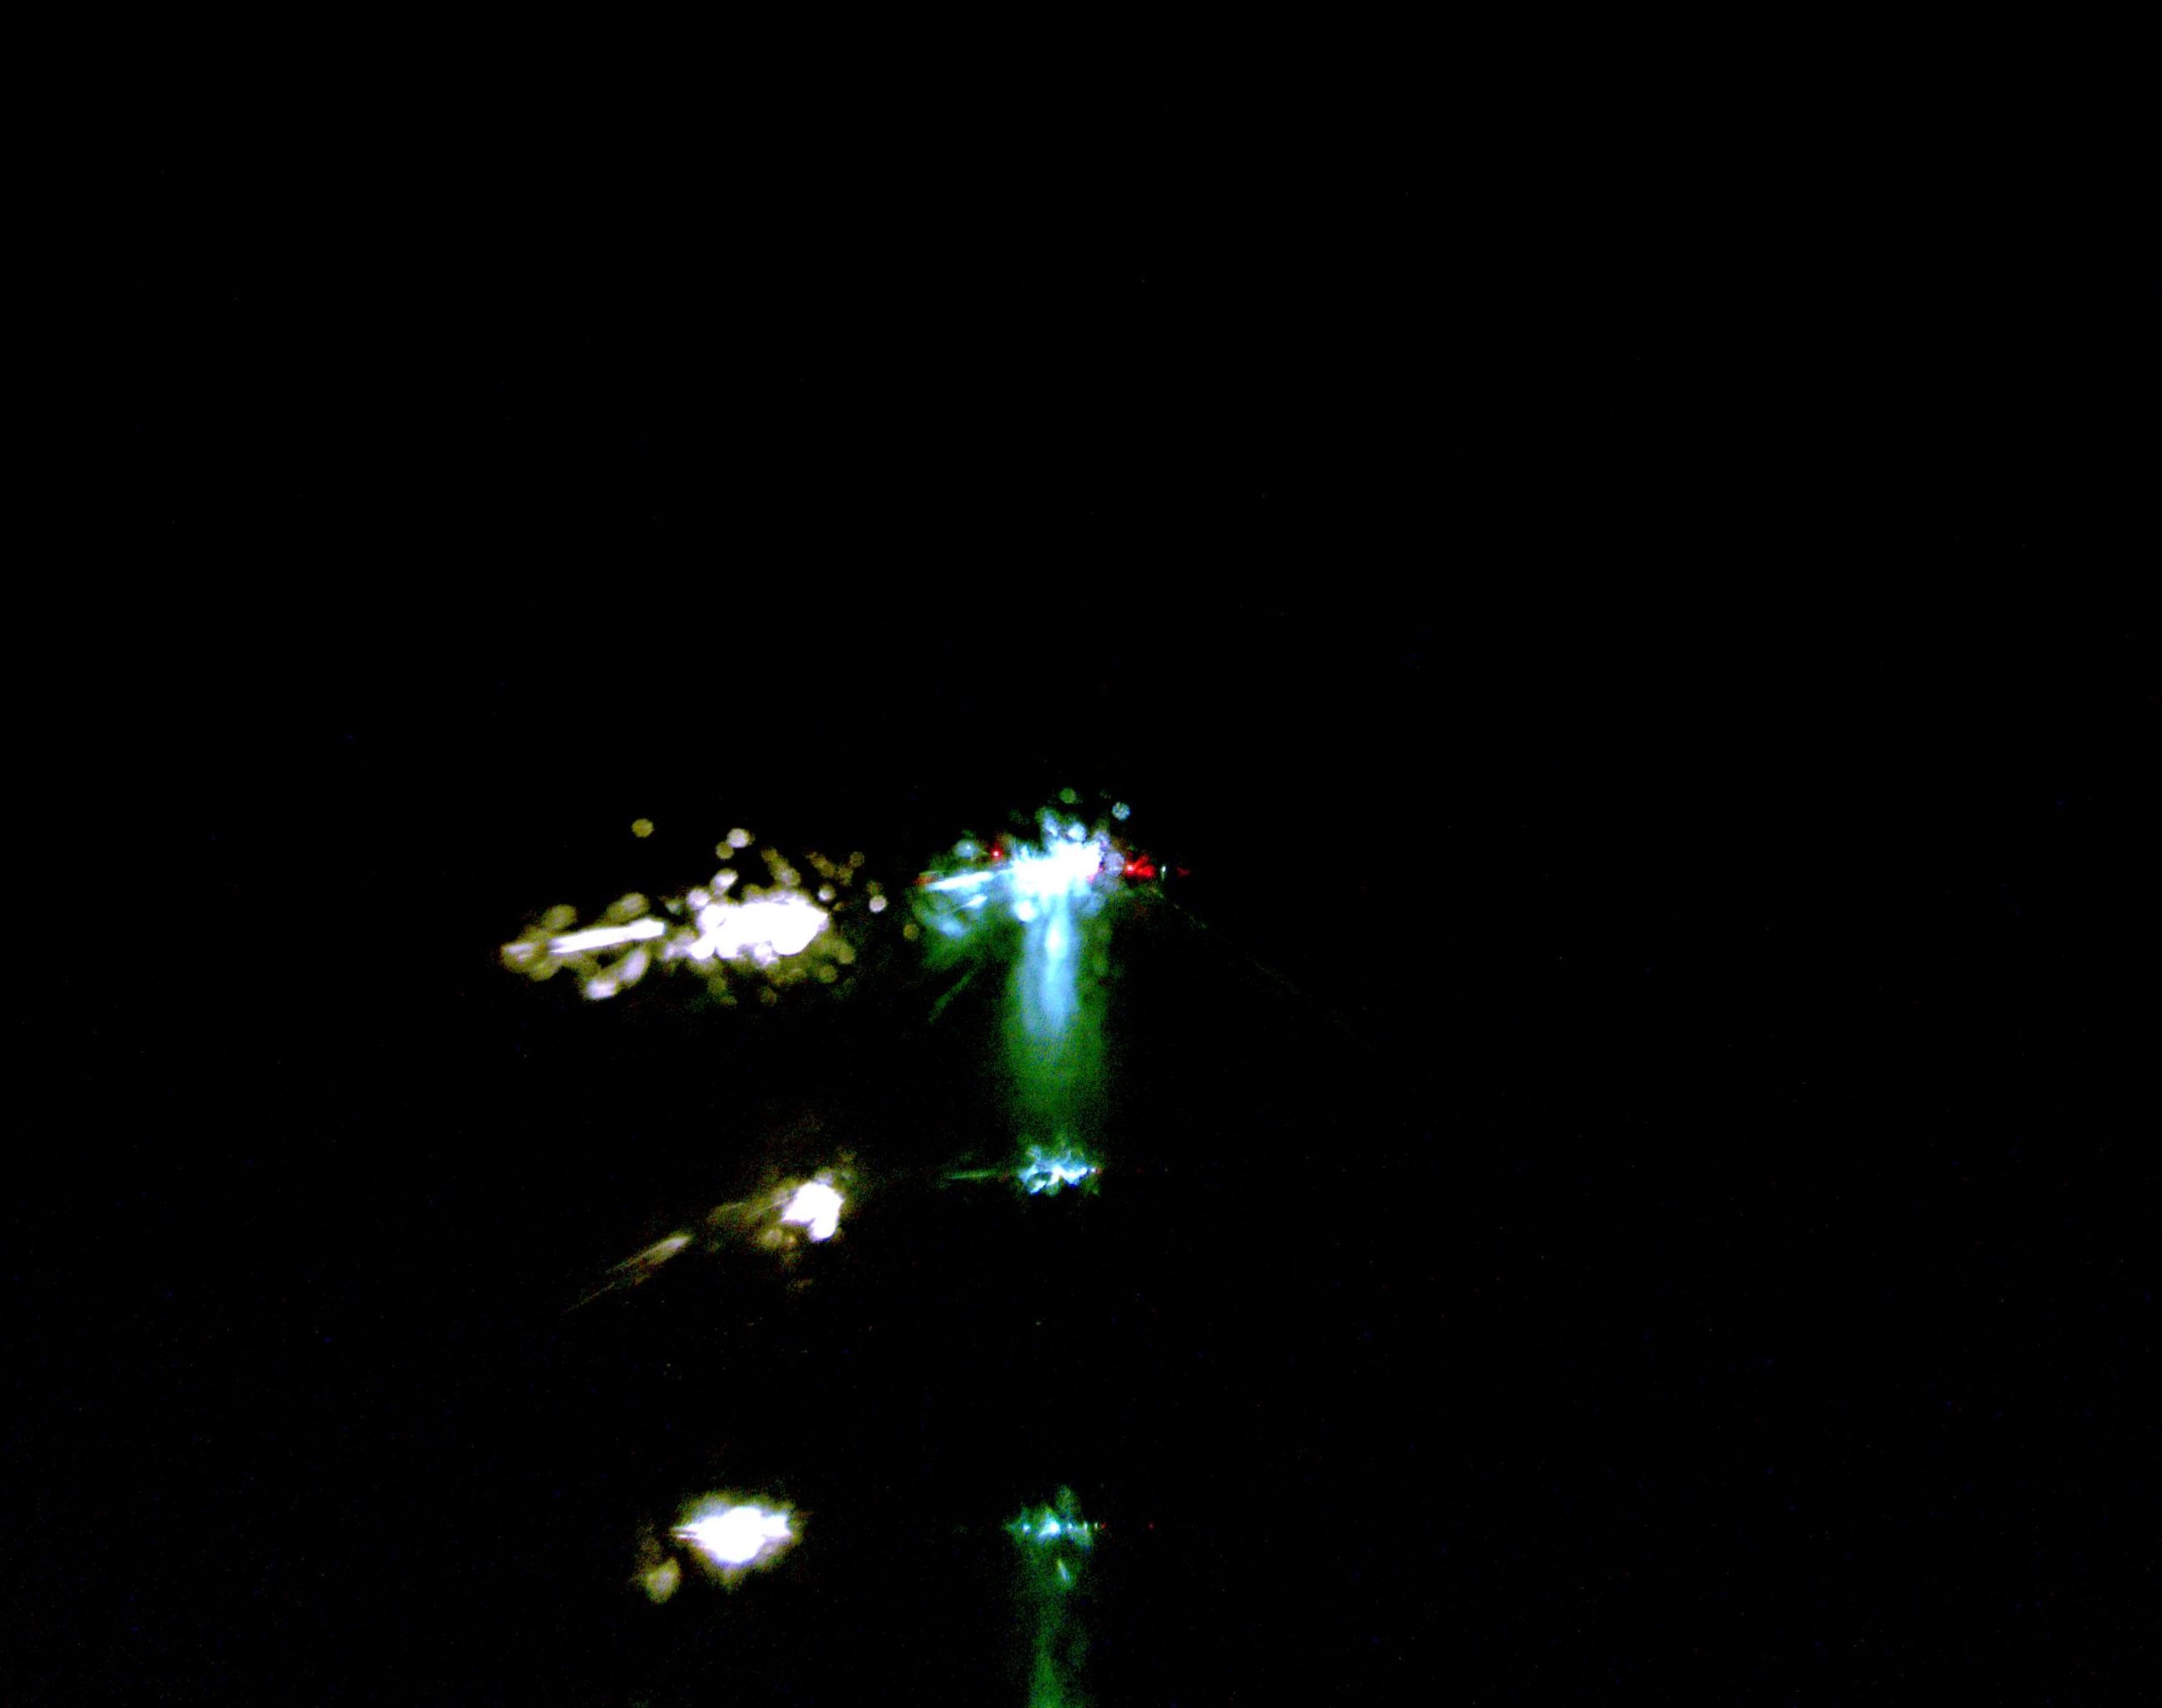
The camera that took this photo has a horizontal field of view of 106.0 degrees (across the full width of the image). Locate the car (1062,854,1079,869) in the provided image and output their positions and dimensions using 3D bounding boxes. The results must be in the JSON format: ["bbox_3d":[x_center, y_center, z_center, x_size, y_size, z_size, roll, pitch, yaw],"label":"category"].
[{"bbox_3d":[-1.252,0.834,95.550,1.798,1.627,4.407,-3,0,1],"label":"car"}]

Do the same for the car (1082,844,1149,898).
[{"bbox_3d":[1.378,0.641,32.234,2.448,1.958,4.915,0,0,3],"label":"car"}]

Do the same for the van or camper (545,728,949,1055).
[{"bbox_3d":[-3.225,0.309,9.616,2.116,2.565,5.785,-4,0,1],"label":"van or camper"}]

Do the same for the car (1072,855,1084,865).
[{"bbox_3d":[-0.539,1.028,134.507,1.759,1.519,4.491,-3,0,1],"label":"car"}]
